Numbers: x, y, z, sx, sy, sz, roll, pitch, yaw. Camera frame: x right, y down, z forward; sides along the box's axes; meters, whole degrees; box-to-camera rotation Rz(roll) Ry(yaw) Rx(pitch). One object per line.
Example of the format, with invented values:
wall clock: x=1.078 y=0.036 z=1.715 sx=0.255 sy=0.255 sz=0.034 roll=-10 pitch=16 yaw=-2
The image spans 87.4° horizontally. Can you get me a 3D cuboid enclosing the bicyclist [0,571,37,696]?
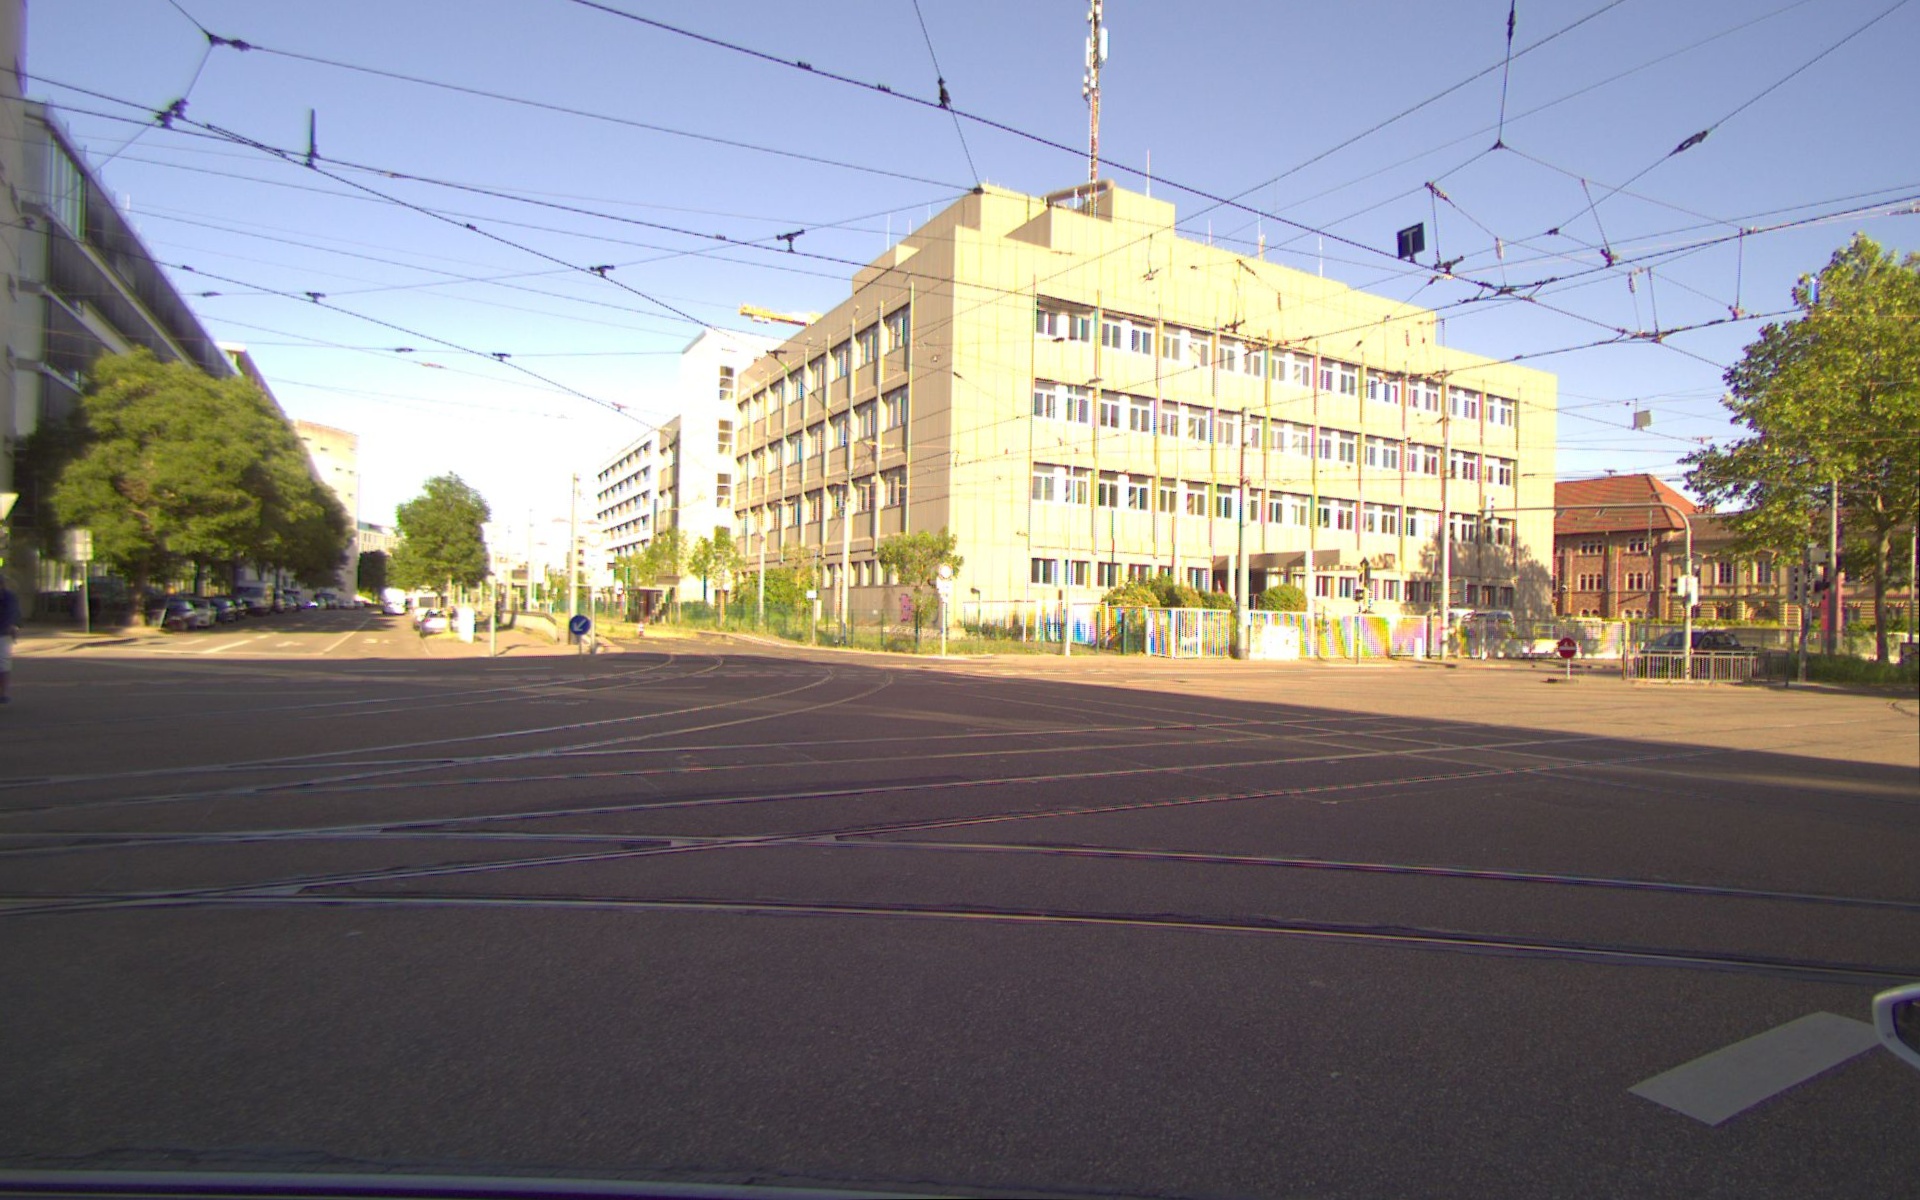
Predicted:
bicyclist: x=-11.907 y=0.394 z=12.373 sx=0.870 sy=1.514 sz=0.719 roll=1 pitch=0 yaw=44

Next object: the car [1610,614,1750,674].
car: x=24.952 y=1.510 z=34.806 sx=4.362 sy=1.973 sz=1.989 roll=1 pitch=0 yaw=-23

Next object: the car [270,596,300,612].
car: x=-59.885 y=0.335 z=89.146 sx=1.978 sy=1.364 sz=3.965 roll=2 pitch=-1 yaw=-32

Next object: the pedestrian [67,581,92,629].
pedestrian: x=-38.386 y=0.223 z=43.786 sx=0.631 sy=2.040 sz=0.623 roll=1 pitch=-1 yaw=-26

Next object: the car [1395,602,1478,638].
car: x=28.731 y=1.222 z=60.543 sx=4.661 sy=2.040 sz=1.988 roll=2 pitch=-1 yaw=-25

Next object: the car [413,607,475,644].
car: x=-24.963 y=1.215 z=48.562 sx=2.088 sy=1.720 sz=3.930 roll=2 pitch=-1 yaw=-36

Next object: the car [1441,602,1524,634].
car: x=29.956 y=1.037 z=57.579 sx=4.319 sy=1.726 sz=1.988 roll=2 pitch=-1 yaw=-25

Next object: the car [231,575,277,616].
car: x=-49.018 y=-0.284 z=69.836 sx=2.208 sy=2.689 sz=5.084 roll=2 pitch=-1 yaw=-32

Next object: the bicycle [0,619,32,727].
bicycle: x=-11.886 y=0.859 z=12.336 sx=2.015 sy=1.205 sz=0.587 roll=1 pitch=0 yaw=44

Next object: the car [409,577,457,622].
car: x=-31.424 y=-0.024 z=59.823 sx=2.158 sy=2.538 sz=4.362 roll=2 pitch=-1 yaw=-32

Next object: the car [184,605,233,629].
car: x=-41.332 y=0.913 z=55.335 sx=1.789 sy=1.204 sz=3.766 roll=2 pitch=-1 yaw=-32

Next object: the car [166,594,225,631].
car: x=-37.114 y=0.584 z=48.835 sx=1.715 sy=1.675 sz=3.921 roll=2 pitch=-1 yaw=-30

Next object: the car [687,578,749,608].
car: x=-17.614 y=-0.482 z=73.187 sx=3.953 sy=2.040 sz=1.984 roll=1 pitch=-1 yaw=-30
